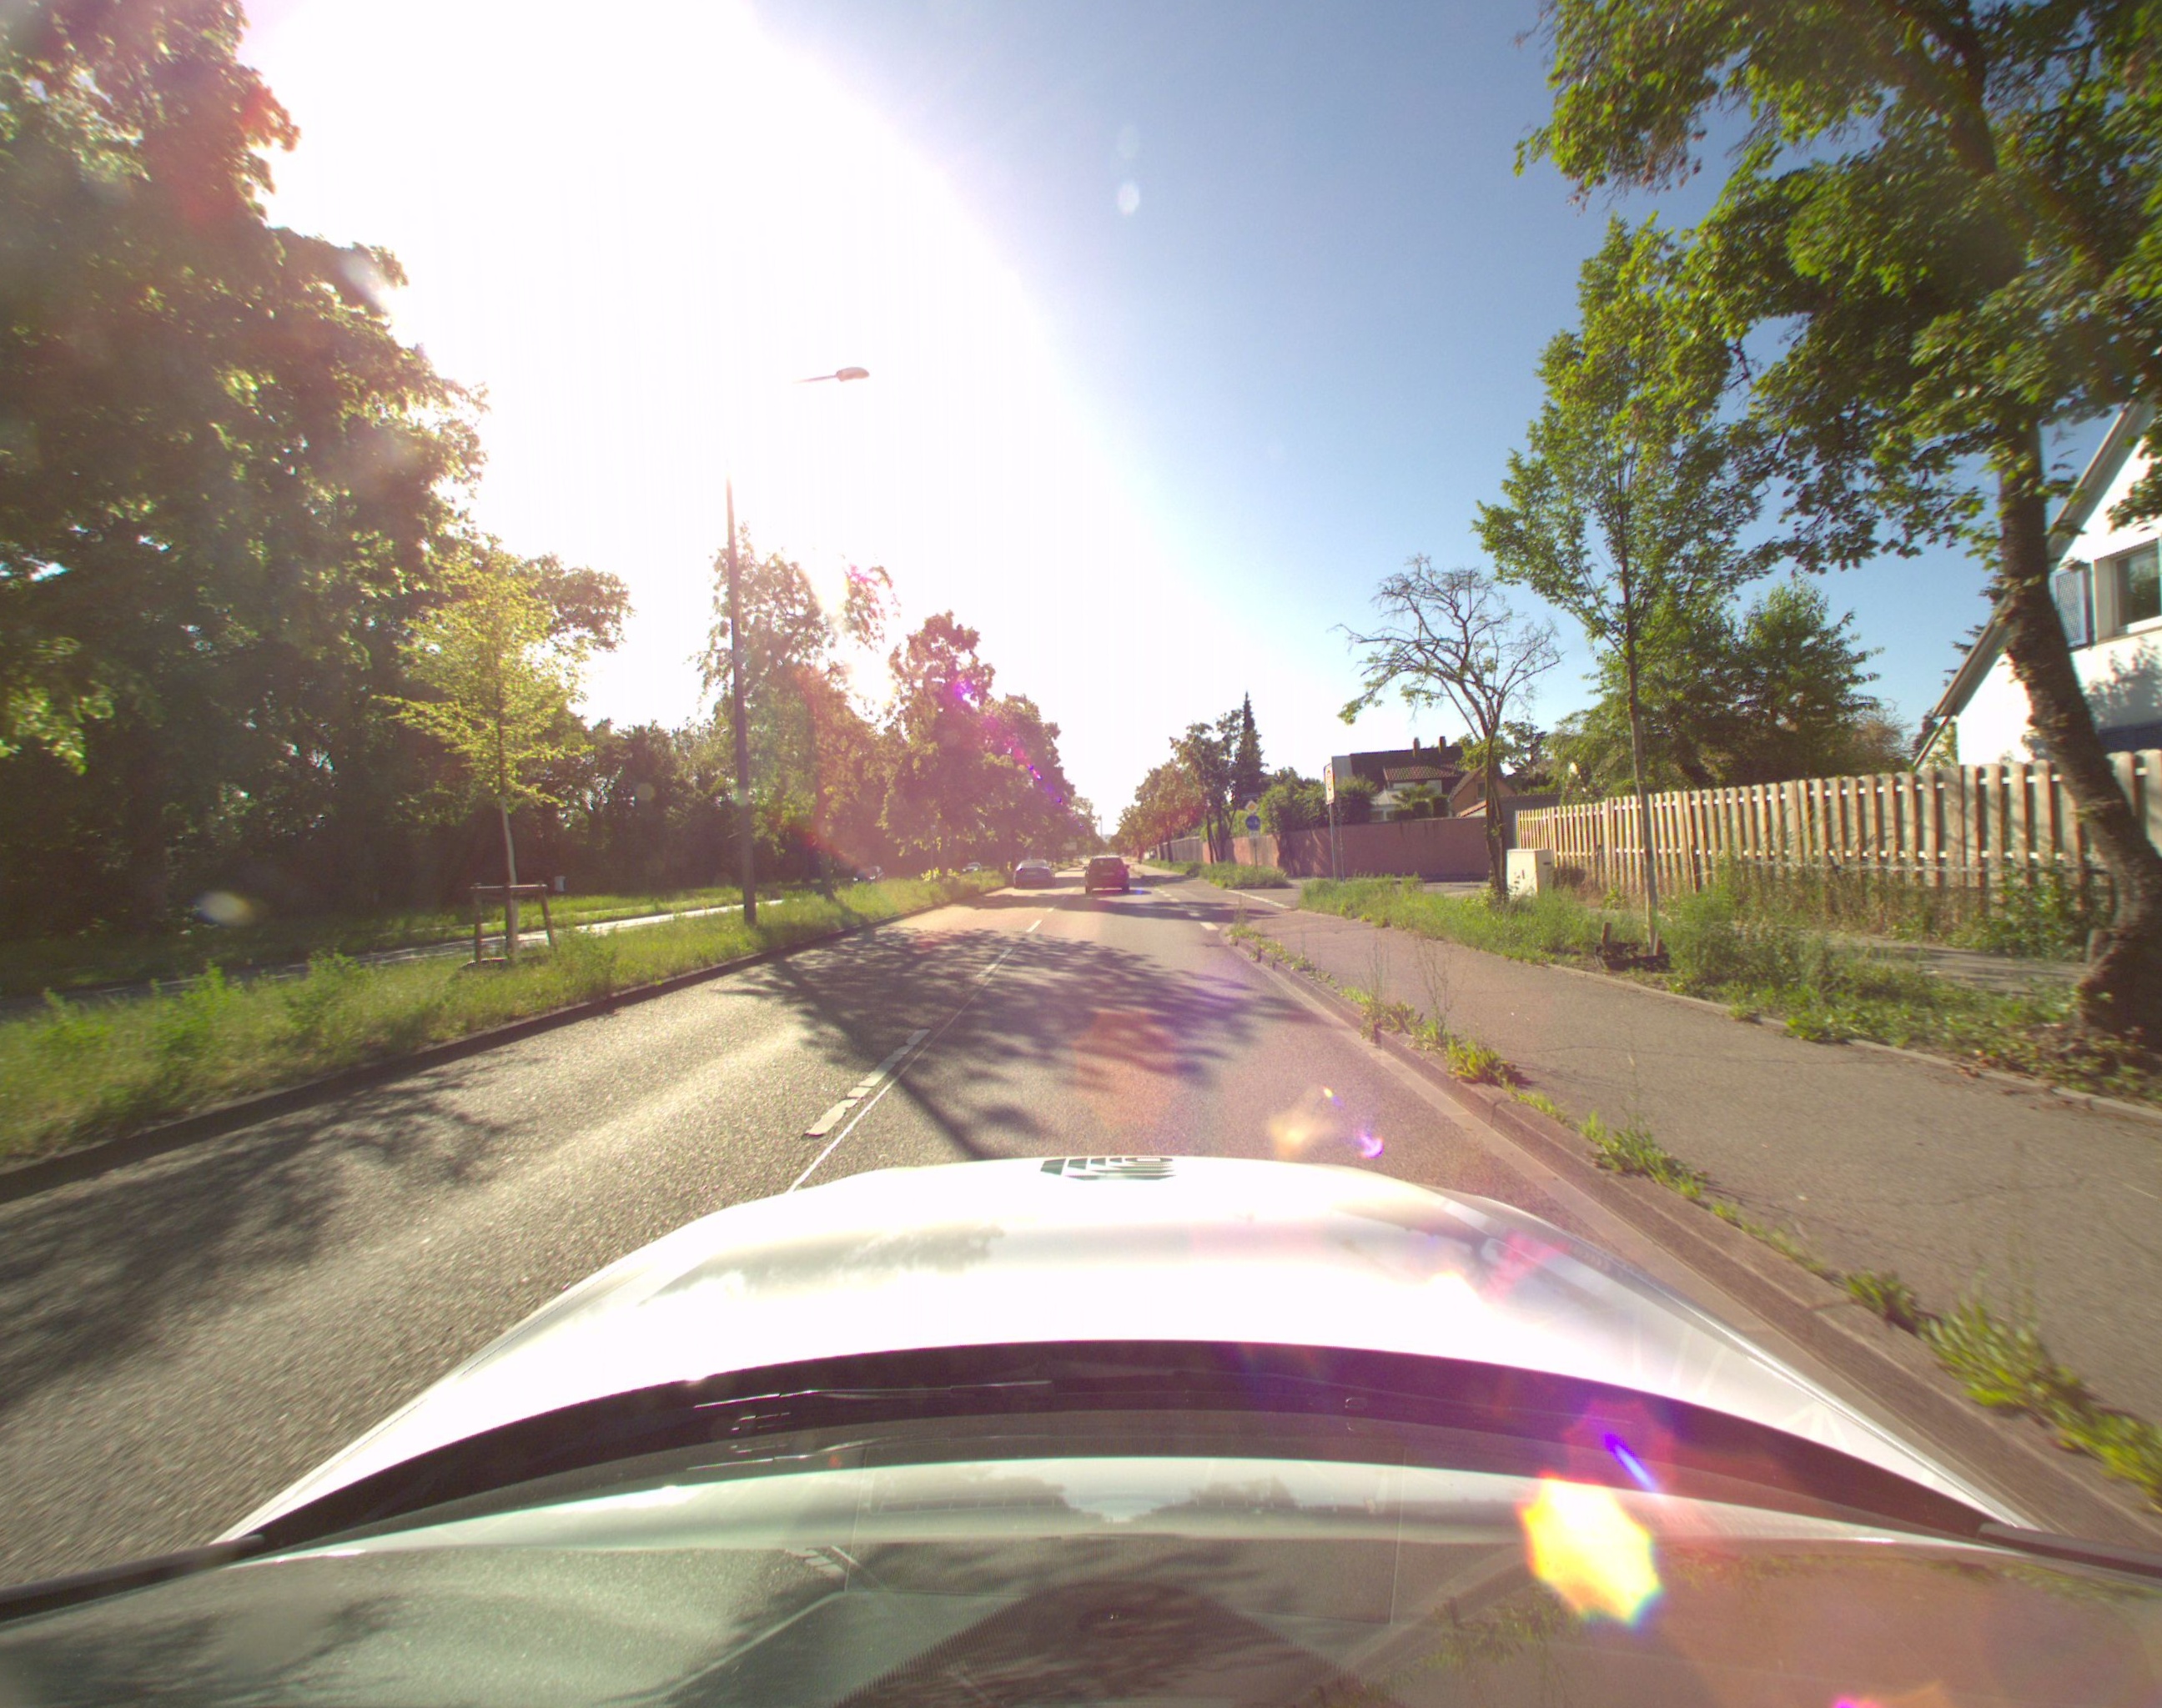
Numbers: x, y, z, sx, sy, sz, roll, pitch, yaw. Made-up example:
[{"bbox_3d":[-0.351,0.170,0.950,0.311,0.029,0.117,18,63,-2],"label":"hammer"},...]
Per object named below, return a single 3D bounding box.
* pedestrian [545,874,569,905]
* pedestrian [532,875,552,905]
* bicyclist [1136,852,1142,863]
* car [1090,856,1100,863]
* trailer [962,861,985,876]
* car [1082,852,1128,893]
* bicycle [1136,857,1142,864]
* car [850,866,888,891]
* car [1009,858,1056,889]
[{"bbox_3d":[-26.020,1.754,40.467,0.542,1.460,0.917,-3,0,2],"label":"pedestrian"},{"bbox_3d":[-26.770,1.773,40.435,0.542,1.460,0.596,-3,0,1],"label":"pedestrian"},{"bbox_3d":[7.561,0.514,106.743,0.677,1.418,0.812,-2,0,2],"label":"bicyclist"},{"bbox_3d":[3.222,1.192,185.270,1.973,1.440,3.997,-3,1,-2],"label":"car"},{"bbox_3d":[-12.347,1.651,93.601,1.734,1.424,4.499,-4,0,2],"label":"trailer"},{"bbox_3d":[1.047,0.723,33.379,1.753,1.559,4.003,-1,0,3],"label":"car"},{"bbox_3d":[7.575,0.803,106.752,0.653,0.892,1.875,-2,0,2],"label":"bicycle"},{"bbox_3d":[-14.344,1.639,55.350,1.710,1.505,3.015,-5,0,-1],"label":"car"},{"bbox_3d":[-2.397,0.937,41.258,1.987,1.405,4.001,-2,0,2],"label":"car"}]
